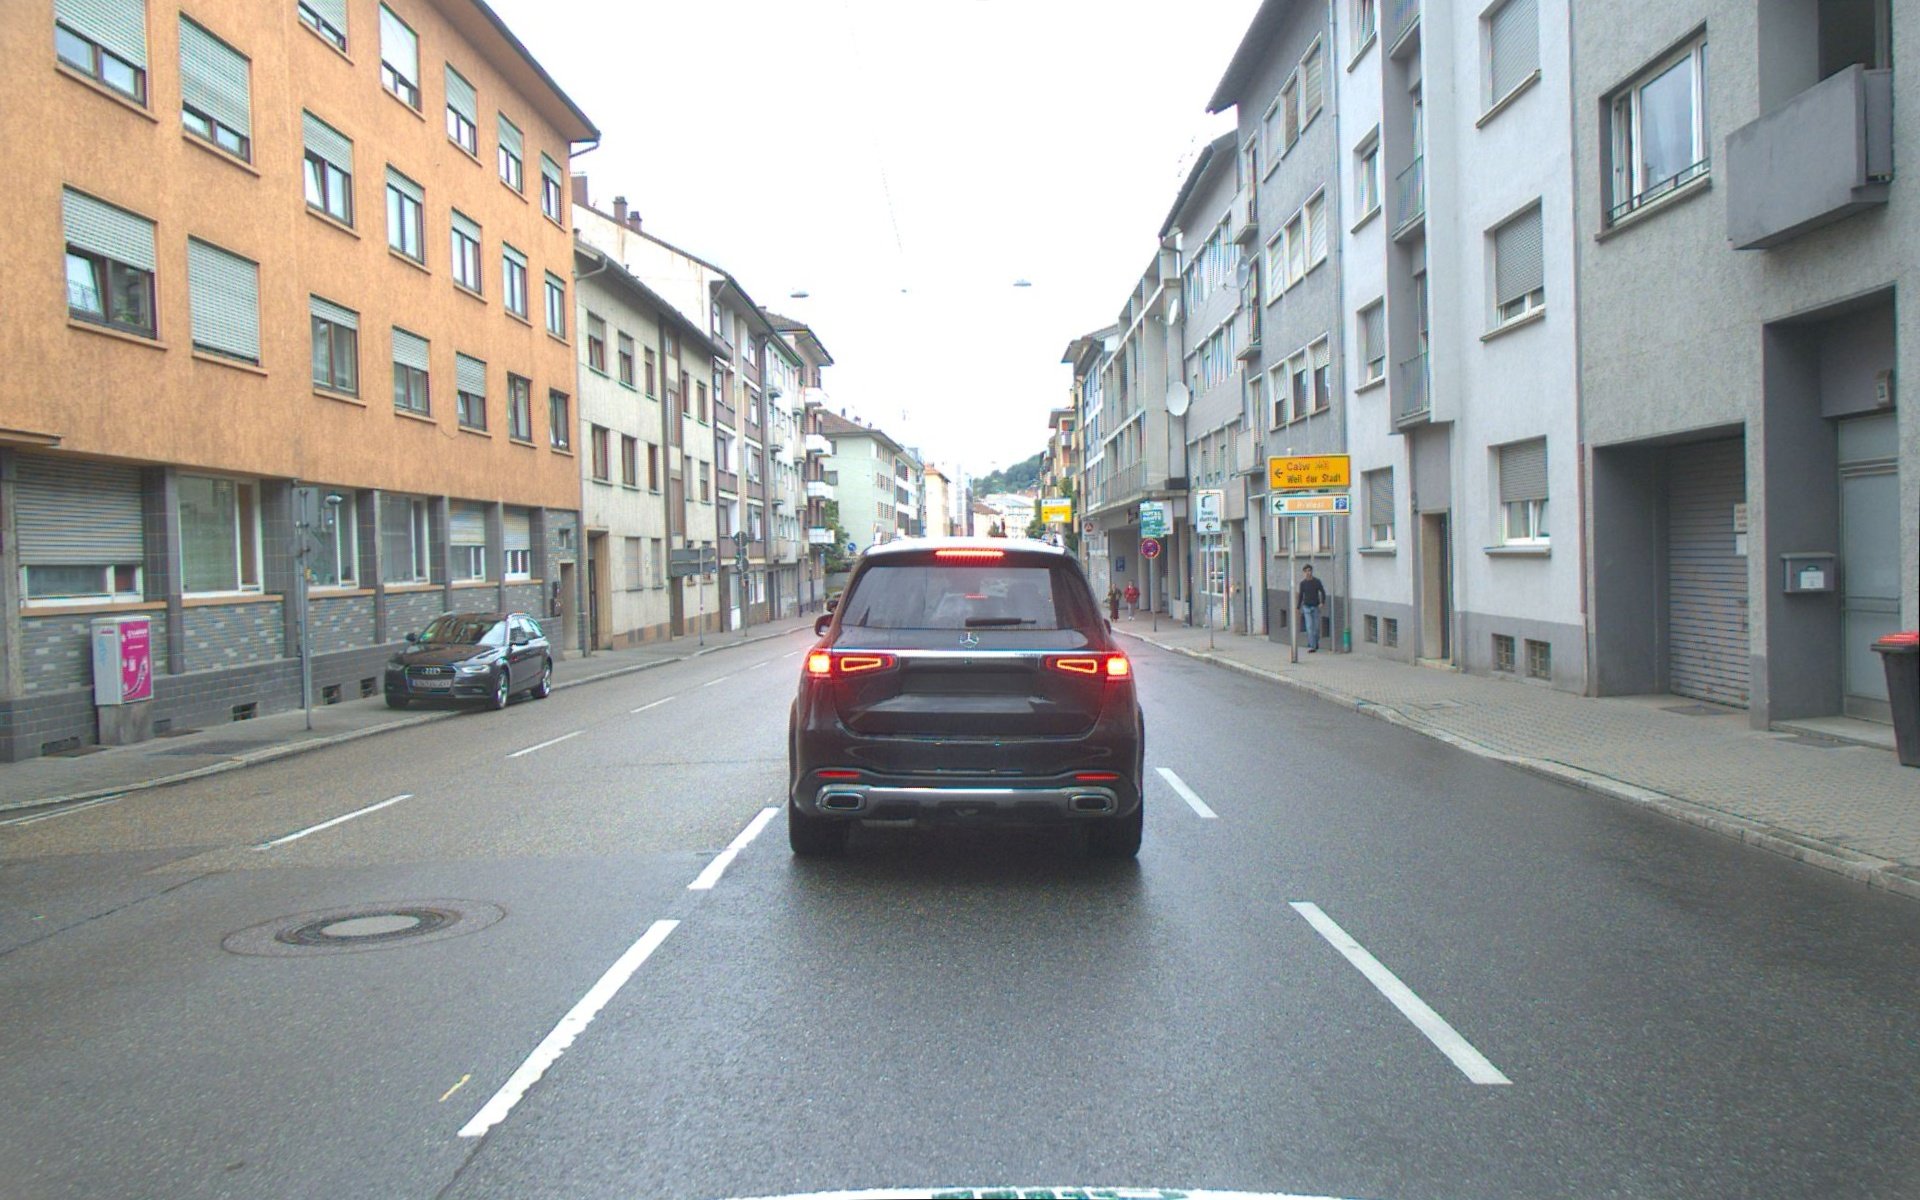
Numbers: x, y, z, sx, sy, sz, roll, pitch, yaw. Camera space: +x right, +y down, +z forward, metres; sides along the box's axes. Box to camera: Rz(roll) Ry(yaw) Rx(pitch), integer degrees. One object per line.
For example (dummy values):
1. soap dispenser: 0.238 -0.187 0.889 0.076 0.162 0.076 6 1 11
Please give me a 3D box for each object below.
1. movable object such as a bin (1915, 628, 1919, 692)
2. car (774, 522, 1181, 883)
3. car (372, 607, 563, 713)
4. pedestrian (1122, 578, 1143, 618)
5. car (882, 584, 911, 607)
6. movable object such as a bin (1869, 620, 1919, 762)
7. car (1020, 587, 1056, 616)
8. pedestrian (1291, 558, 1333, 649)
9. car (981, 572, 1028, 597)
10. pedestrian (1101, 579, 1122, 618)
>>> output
1. movable object such as a bin: 7.123 0.680 11.598 0.463 0.979 0.564 -5 1 2
2. car: 0.064 0.465 10.605 2.034 1.796 4.611 0 1 -1
3. car: -7.947 0.917 27.137 1.853 1.484 4.548 0 1 -1
4. pedestrian: 7.015 -0.083 67.280 0.803 1.592 0.900 0 1 3
5. car: -4.147 -0.319 108.659 1.853 1.484 4.548 0 1 -1
6. movable object such as a bin: 7.122 0.653 12.169 0.551 0.979 0.474 -5 1 3
7. car: 4.158 0.060 88.628 1.699 1.412 4.582 0 1 -1
8. pedestrian: 7.116 0.064 33.496 0.642 1.782 0.742 -4 0 5
9. car: 3.738 -1.297 138.220 3.903 2.049 2.001 0 1 3
10. pedestrian: 6.171 -0.060 67.318 0.803 1.592 0.900 0 1 3
